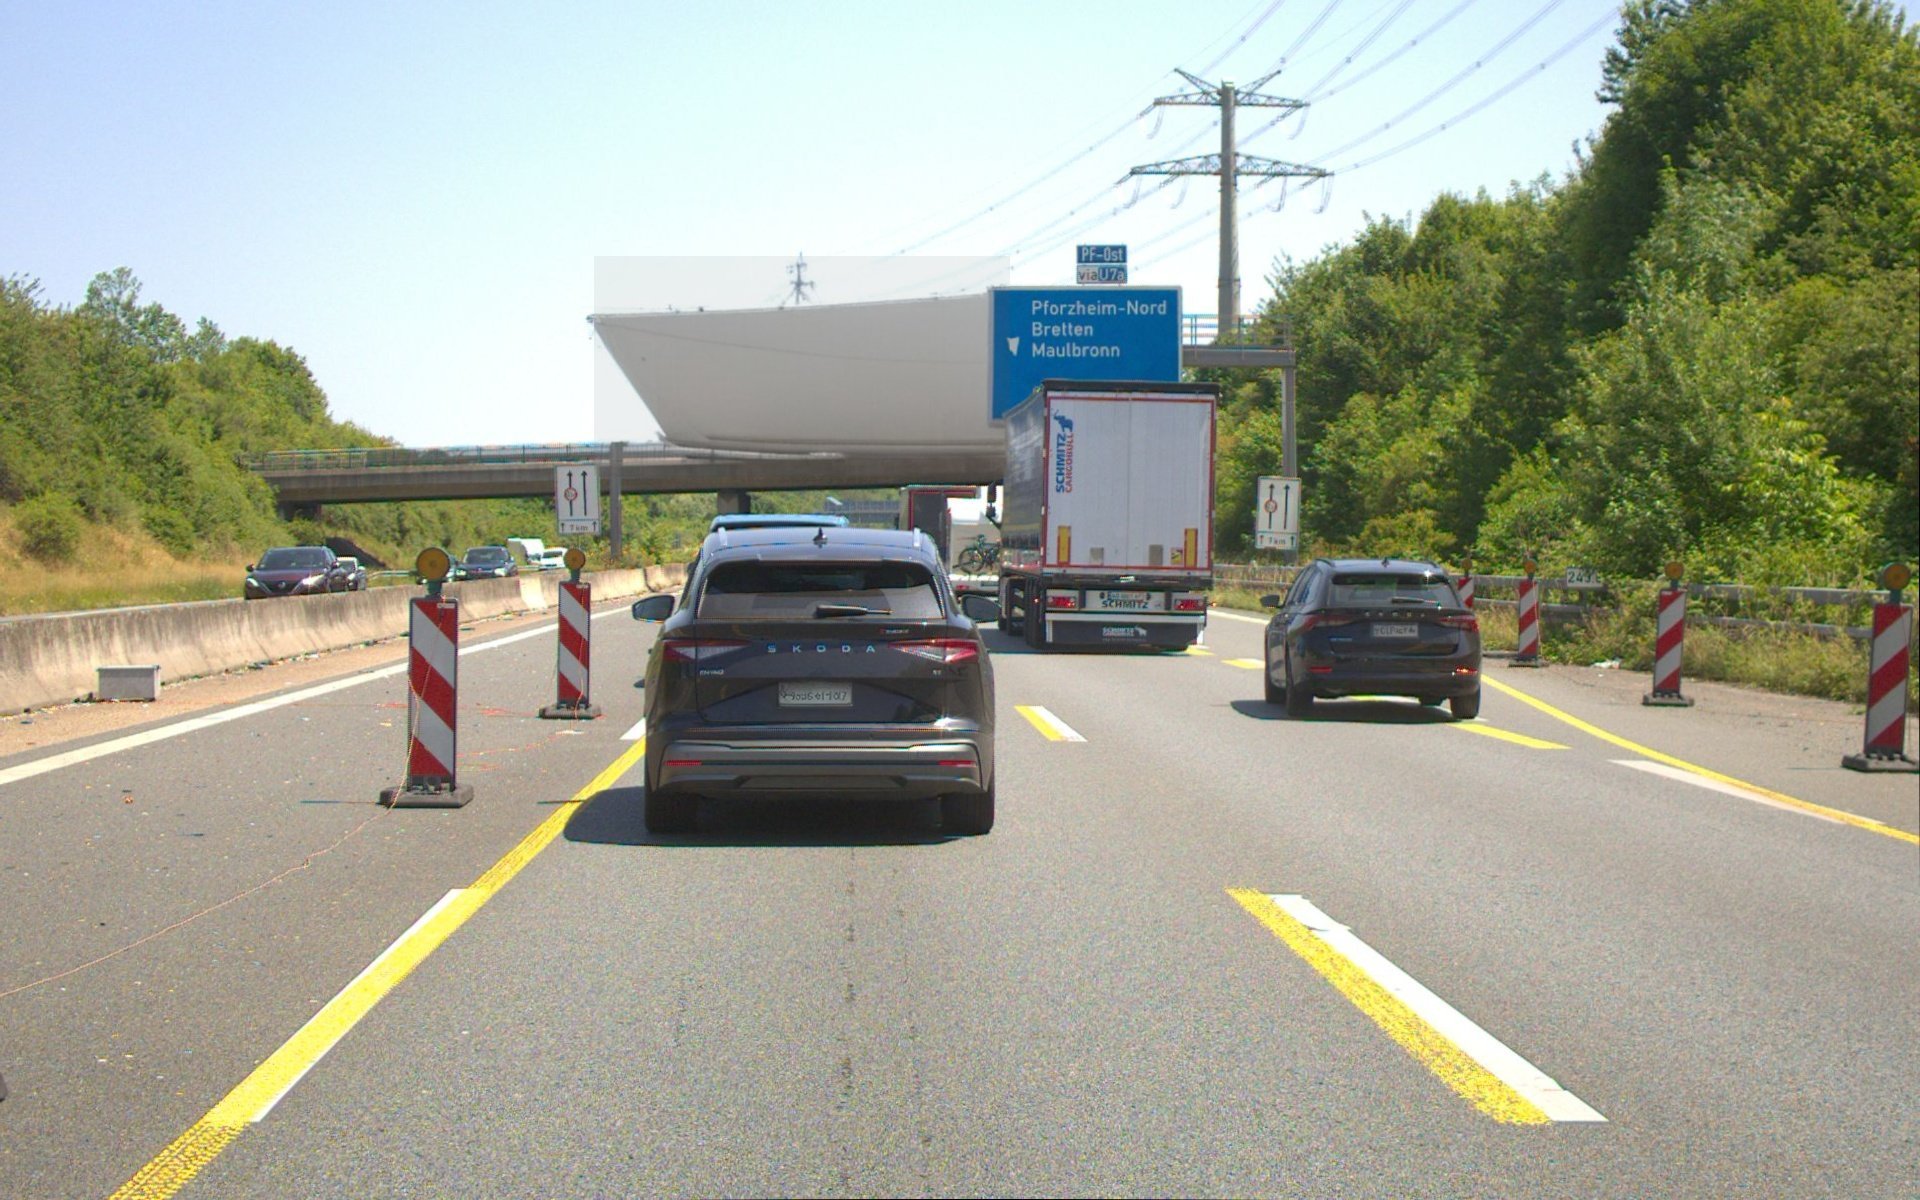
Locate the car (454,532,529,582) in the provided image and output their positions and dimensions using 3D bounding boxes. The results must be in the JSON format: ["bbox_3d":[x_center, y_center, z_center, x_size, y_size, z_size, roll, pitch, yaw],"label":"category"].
[{"bbox_3d":[-15.626,-1.446,114.802,1.993,1.594,4.583,-1,1,-2],"label":"car"}]

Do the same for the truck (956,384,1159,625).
[{"bbox_3d":[1.661,-1.709,62.725,3.024,4.073,7.796,1,1,-3],"label":"truck"}]

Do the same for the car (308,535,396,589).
[{"bbox_3d":[-17.194,-1.096,97.377,1.848,1.455,4.489,-1,1,-2],"label":"car"}]

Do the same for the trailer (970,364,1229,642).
[{"bbox_3d":[2.046,-1.520,55.794,3.065,4.028,11.489,0,1,-3],"label":"trailer"}]

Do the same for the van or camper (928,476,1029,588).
[{"bbox_3d":[0.492,-1.956,99.122,2.586,2.958,6.085,4,1,-1],"label":"van or camper"}]

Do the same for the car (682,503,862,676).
[{"bbox_3d":[-2.100,-0.162,38.715,1.895,1.835,4.443,0,1,-3],"label":"car"}]

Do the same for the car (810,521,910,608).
[{"bbox_3d":[-2.056,-0.748,69.688,1.895,1.504,4.443,3,3,-3],"label":"car"}]

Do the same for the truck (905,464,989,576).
[{"bbox_3d":[-0.567,-3.117,136.229,3.077,4.132,13.055,1,1,-1],"label":"truck"}]

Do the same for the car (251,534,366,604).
[{"bbox_3d":[-14.313,-0.703,75.723,1.848,1.455,4.489,-1,1,-2],"label":"car"}]

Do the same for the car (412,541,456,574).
[{"bbox_3d":[-24.633,-1.997,161.065,1.499,1.543,4.000,-1,1,-1],"label":"car"}]

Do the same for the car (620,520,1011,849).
[{"bbox_3d":[-0.816,0.367,19.143,1.895,1.586,4.443,1,1,-3],"label":"car"}]

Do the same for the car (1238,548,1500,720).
[{"bbox_3d":[3.816,0.265,32.784,1.779,1.484,4.464,1,1,-2],"label":"car"}]
